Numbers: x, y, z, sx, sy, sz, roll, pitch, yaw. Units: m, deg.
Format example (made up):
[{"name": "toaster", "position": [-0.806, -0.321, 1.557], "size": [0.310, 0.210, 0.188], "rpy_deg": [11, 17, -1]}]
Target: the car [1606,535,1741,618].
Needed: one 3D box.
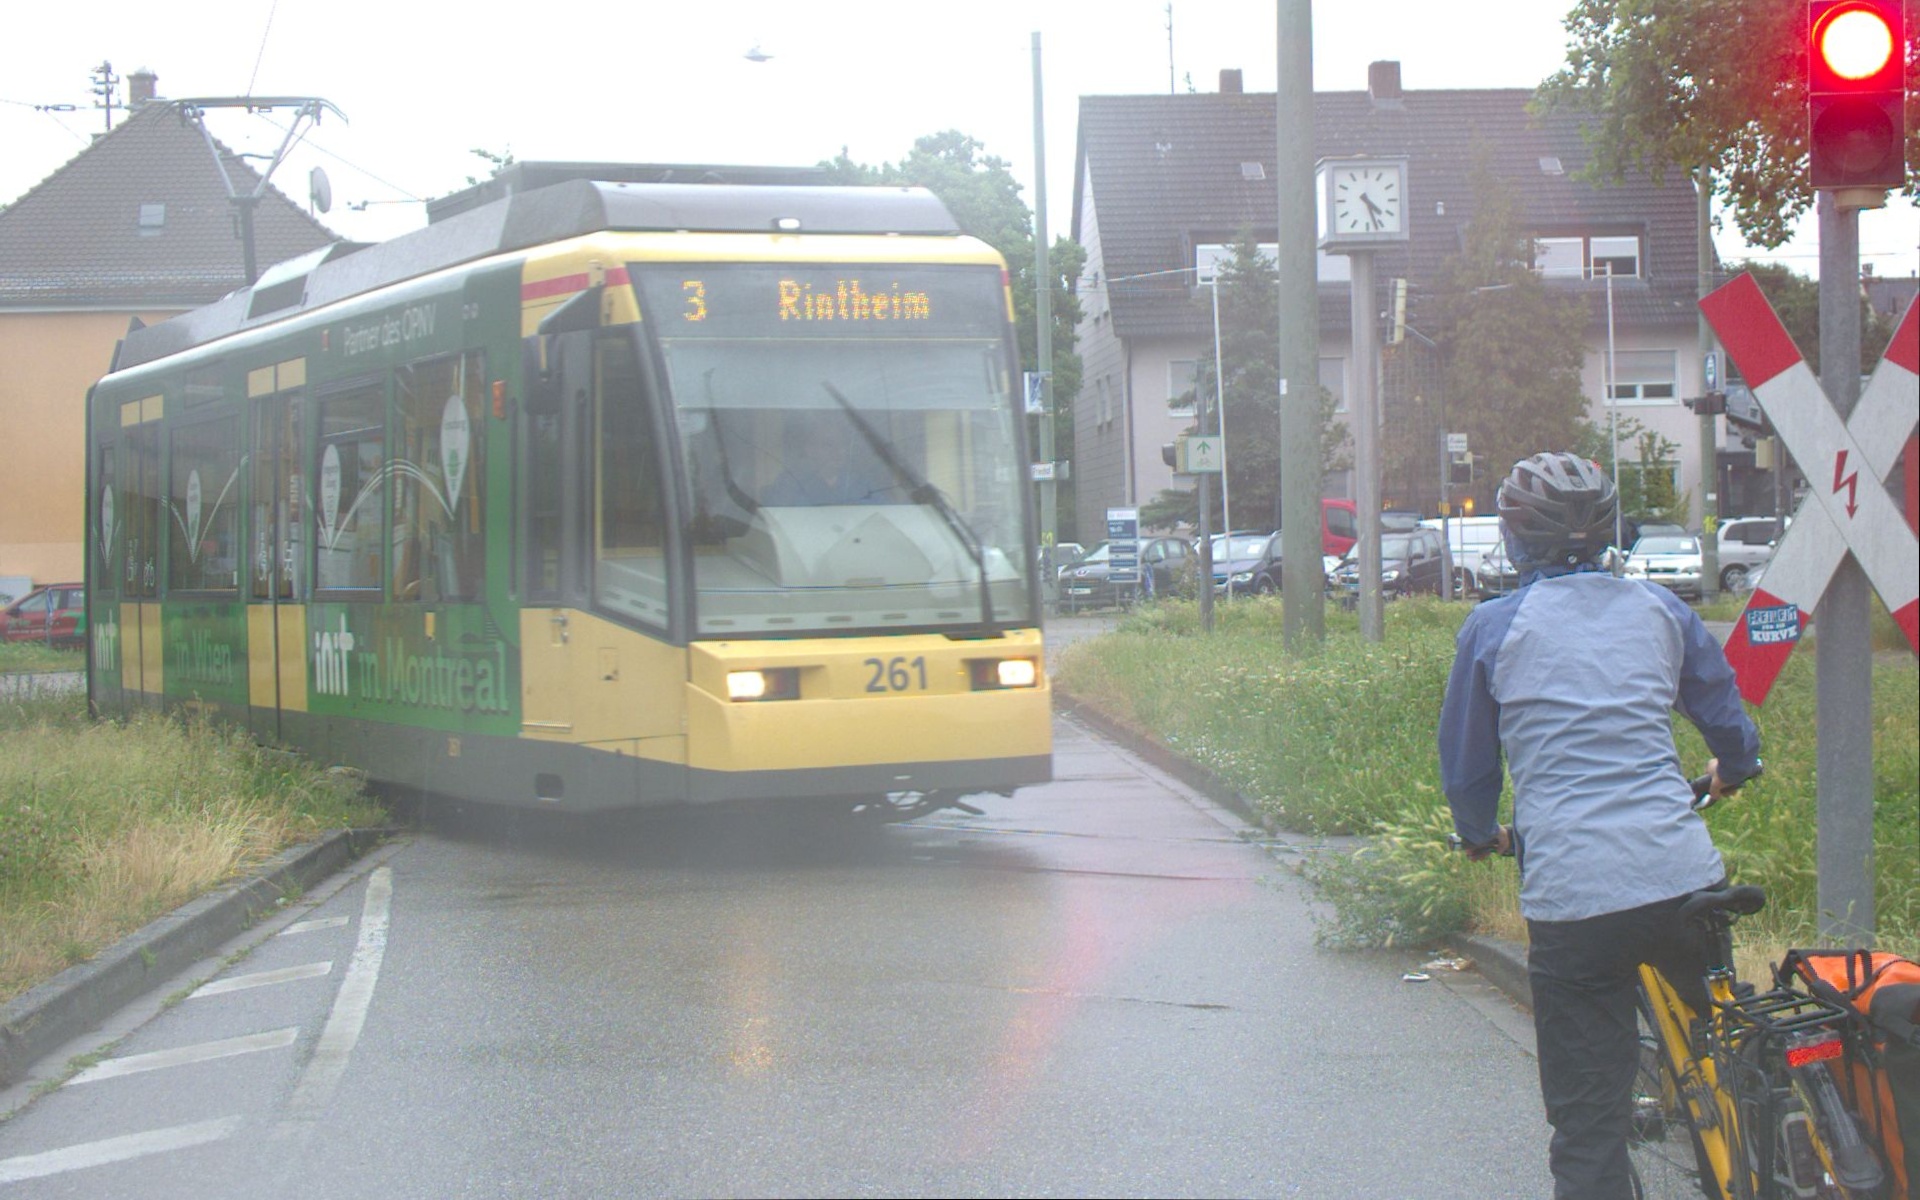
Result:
[{"name": "car", "position": [14.756, -0.477, 70.969], "size": [1.843, 1.634, 3.995], "rpy_deg": [1, 0, 25]}]

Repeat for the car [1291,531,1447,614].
[{"name": "car", "position": [8.408, -0.561, 70.358], "size": [1.996, 1.634, 3.995], "rpy_deg": [1, 0, 25]}]

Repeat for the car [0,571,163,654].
[{"name": "car", "position": [-16.661, 0.220, 62.598], "size": [3.986, 1.451, 1.834], "rpy_deg": [1, 0, -6]}]

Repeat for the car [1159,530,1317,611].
[{"name": "car", "position": [5.815, -0.606, 71.526], "size": [1.996, 1.634, 3.995], "rpy_deg": [1, 0, 25]}]

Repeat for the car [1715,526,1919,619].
[{"name": "car", "position": [16.360, -0.519, 65.108], "size": [3.684, 1.695, 1.890], "rpy_deg": [1, 0, 0]}]

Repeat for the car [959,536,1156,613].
[{"name": "car", "position": [2.181, -0.567, 76.863], "size": [3.987, 1.670, 2.000], "rpy_deg": [0, 0, -36]}]

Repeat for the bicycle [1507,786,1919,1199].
[{"name": "bicycle", "position": [1.355, 0.899, 6.072], "size": [0.446, 1.001, 1.728], "rpy_deg": [-1, 1, -2]}]

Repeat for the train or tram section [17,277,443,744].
[{"name": "train or tram section", "position": [-6.245, -0.740, 28.861], "size": [2.760, 3.541, 4.990], "rpy_deg": [-1, 1, -20]}]

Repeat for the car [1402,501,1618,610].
[{"name": "car", "position": [12.174, -0.987, 76.236], "size": [4.395, 2.317, 2.000], "rpy_deg": [1, 0, -2]}]

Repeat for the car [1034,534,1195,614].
[{"name": "car", "position": [3.302, -0.542, 72.773], "size": [1.996, 1.634, 3.995], "rpy_deg": [1, 0, 25]}]

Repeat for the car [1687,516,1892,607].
[{"name": "car", "position": [18.378, -0.844, 76.275], "size": [3.986, 1.944, 2.000], "rpy_deg": [1, 0, -2]}]

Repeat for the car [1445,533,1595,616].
[{"name": "car", "position": [11.526, -0.519, 70.578], "size": [1.996, 1.634, 3.995], "rpy_deg": [1, 0, 25]}]

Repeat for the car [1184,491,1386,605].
[{"name": "car", "position": [7.553, -1.201, 79.801], "size": [4.398, 2.557, 1.999], "rpy_deg": [1, 0, 14]}]

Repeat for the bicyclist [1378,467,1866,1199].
[{"name": "bicyclist", "position": [1.151, 0.591, 6.142], "size": [0.667, 1.620, 0.853], "rpy_deg": [1, 0, -2]}]

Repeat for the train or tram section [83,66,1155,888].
[{"name": "train or tram section", "position": [-2.856, -0.631, 20.960], "size": [2.760, 3.541, 12.207], "rpy_deg": [-1, 1, -24]}]

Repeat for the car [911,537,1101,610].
[{"name": "car", "position": [1.071, -0.607, 79.932], "size": [3.987, 1.637, 2.000], "rpy_deg": [0, 0, -36]}]
